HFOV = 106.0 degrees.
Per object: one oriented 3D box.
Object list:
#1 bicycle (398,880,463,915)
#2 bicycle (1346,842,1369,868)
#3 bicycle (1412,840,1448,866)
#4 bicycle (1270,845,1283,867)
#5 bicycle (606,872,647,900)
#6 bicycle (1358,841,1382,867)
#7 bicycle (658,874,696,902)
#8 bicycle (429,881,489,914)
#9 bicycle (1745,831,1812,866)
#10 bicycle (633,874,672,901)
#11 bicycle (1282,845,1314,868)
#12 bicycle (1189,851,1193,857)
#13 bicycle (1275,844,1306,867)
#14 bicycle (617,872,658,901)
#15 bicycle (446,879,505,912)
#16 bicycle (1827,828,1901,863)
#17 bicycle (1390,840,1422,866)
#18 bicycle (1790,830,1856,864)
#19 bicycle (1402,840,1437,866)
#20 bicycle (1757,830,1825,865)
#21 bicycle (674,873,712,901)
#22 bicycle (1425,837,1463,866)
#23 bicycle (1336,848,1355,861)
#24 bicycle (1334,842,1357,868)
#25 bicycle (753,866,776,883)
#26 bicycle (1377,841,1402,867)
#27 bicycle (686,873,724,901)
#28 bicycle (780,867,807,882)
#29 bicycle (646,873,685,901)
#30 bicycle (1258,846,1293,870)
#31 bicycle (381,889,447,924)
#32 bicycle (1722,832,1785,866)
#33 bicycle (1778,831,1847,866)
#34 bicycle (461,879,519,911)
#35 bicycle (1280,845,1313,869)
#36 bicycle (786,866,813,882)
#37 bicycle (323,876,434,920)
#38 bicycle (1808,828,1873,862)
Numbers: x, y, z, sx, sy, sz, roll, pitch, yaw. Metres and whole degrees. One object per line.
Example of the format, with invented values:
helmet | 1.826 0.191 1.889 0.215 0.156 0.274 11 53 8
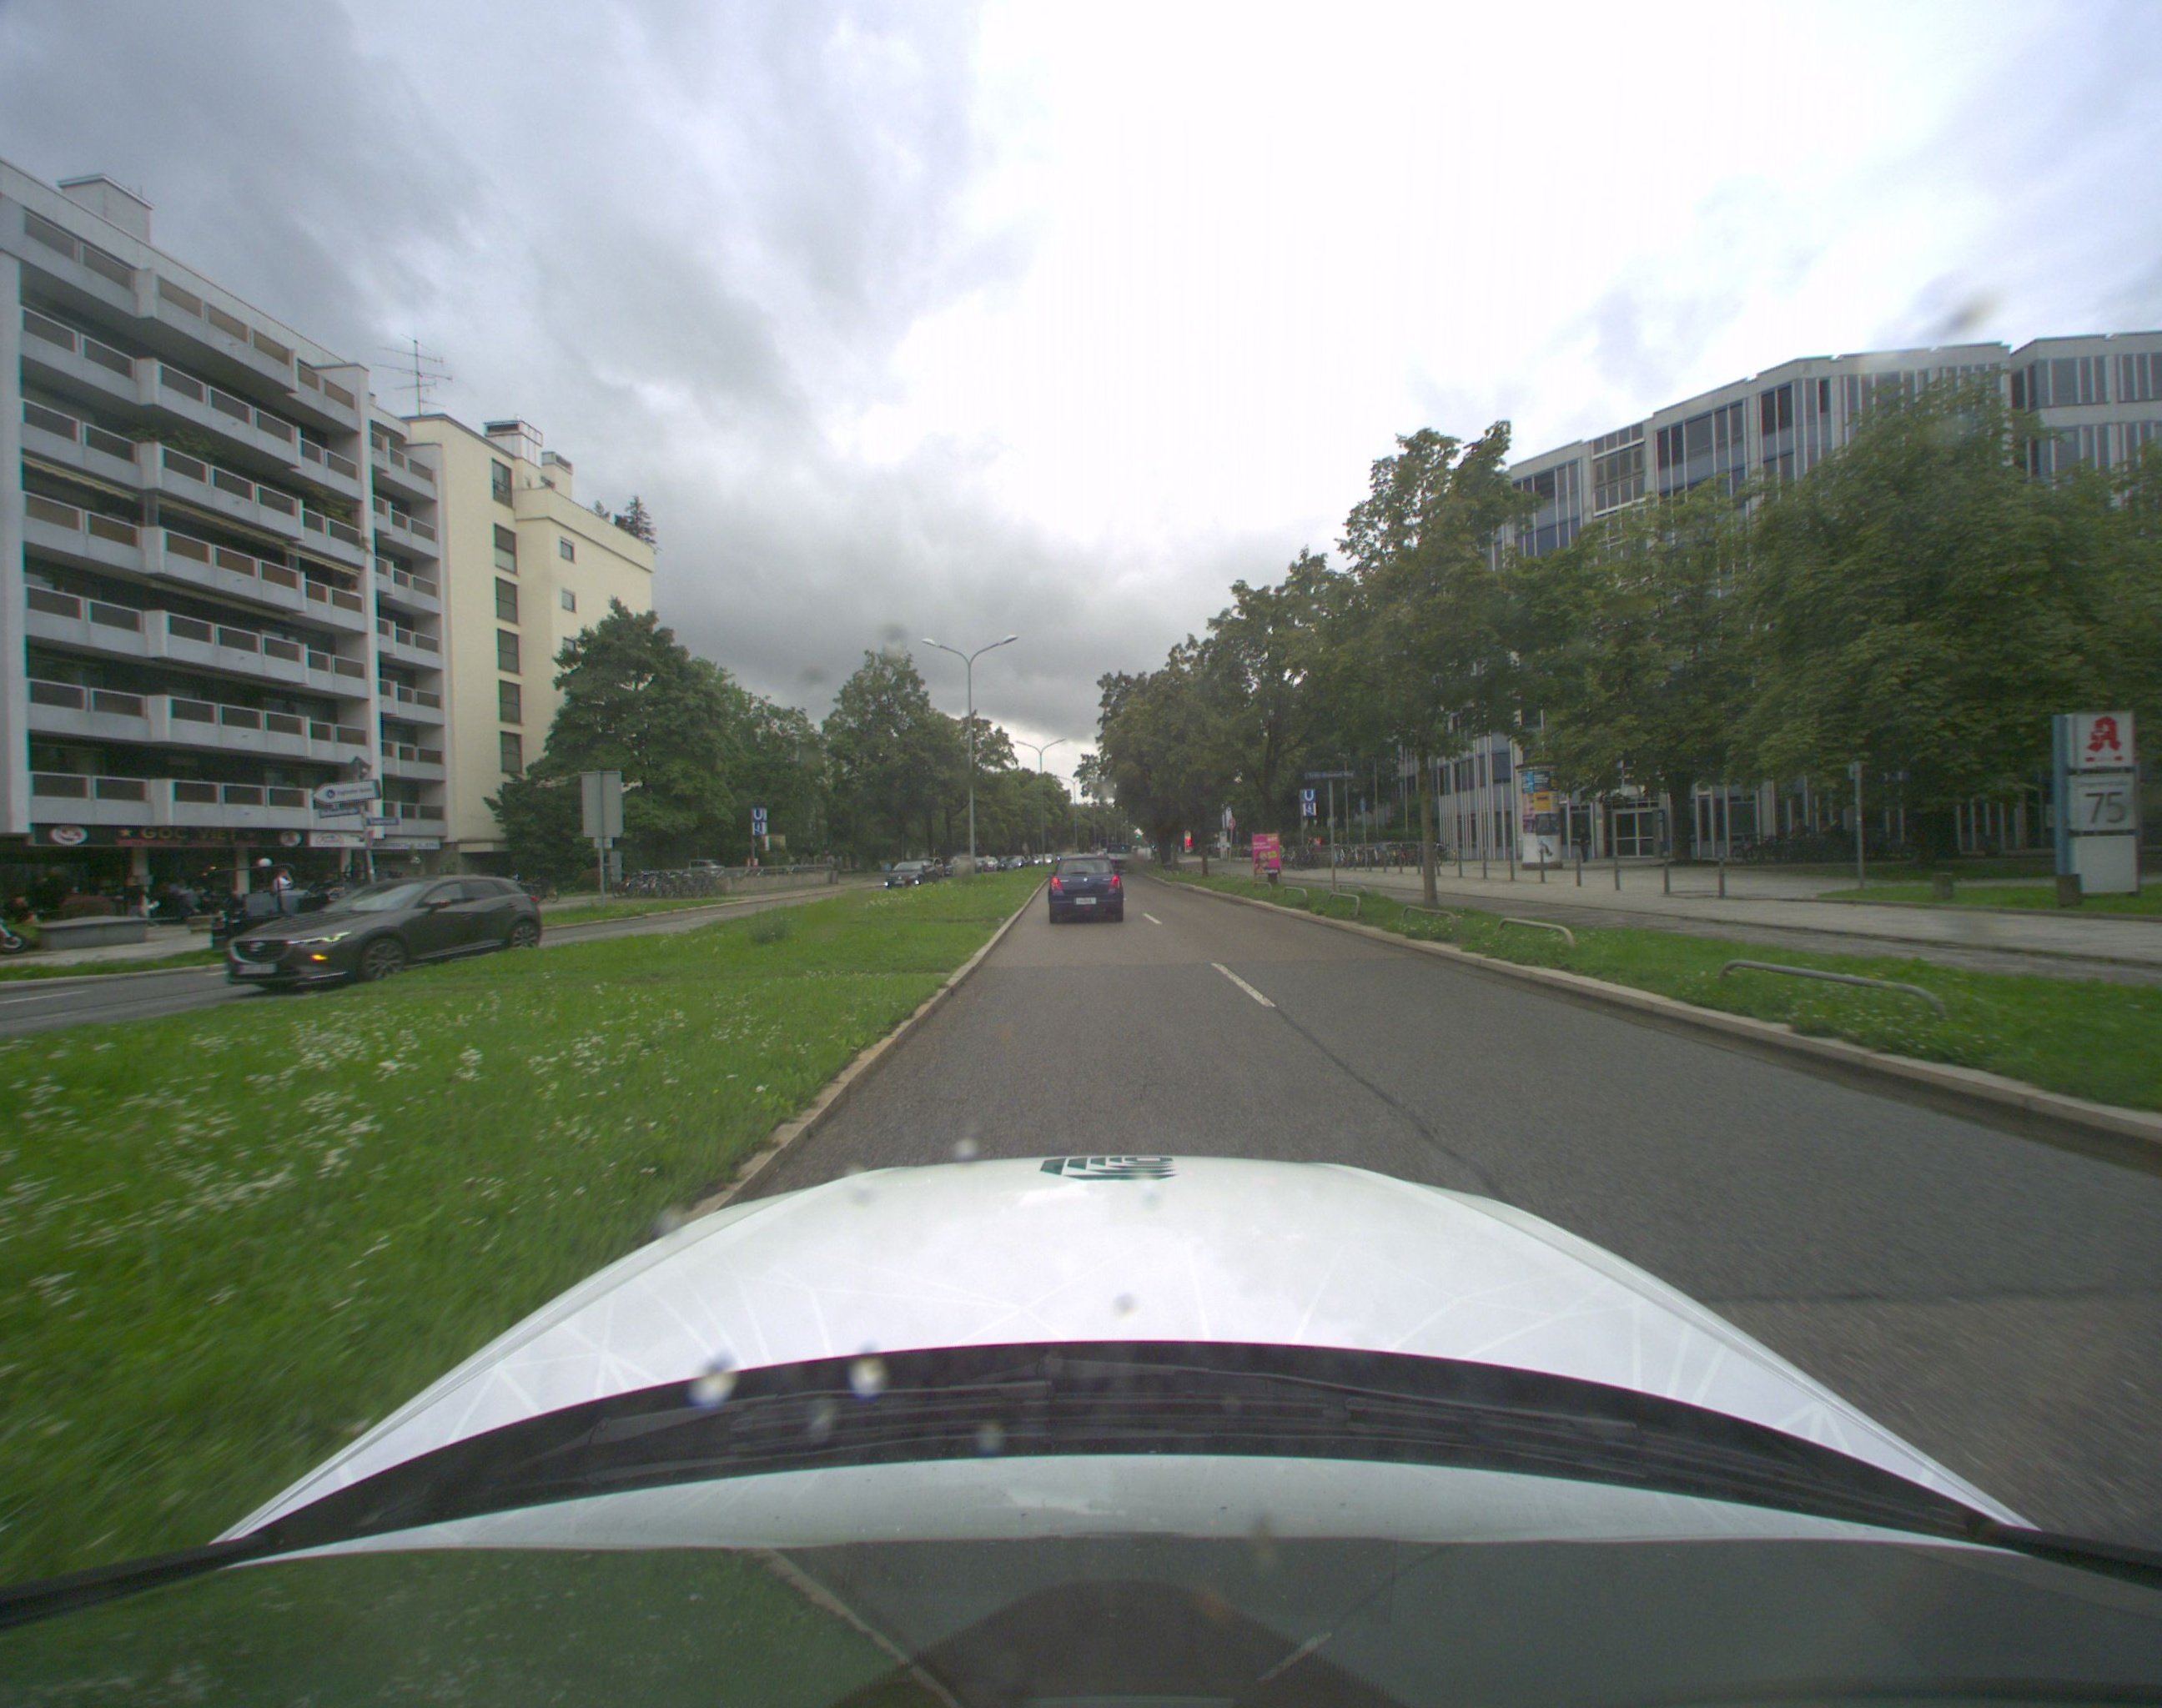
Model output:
bicycle | -22.768 1.529 28.513 1.937 1.103 0.561 2 1 8
bicycle | 13.281 0.030 39.173 0.486 1.189 1.955 -2 0 2
bicycle | 16.609 -0.054 38.804 0.576 1.189 2.137 -2 0 -5
bicycle | 11.729 0.109 48.787 0.527 1.226 1.866 -4 1 9
bicycle | -19.431 1.362 34.829 0.406 1.097 1.958 2 1 7
bicycle | 13.885 -0.020 39.213 0.486 1.189 1.955 -2 0 2
bicycle | -17.205 1.435 34.739 0.406 1.040 1.958 2 1 7
bicycle | -22.578 1.569 29.574 1.937 1.103 0.490 2 0 8
bicycle | 26.574 -0.212 31.072 0.507 1.260 2.171 -2 0 -5
bicycle | -18.330 1.426 34.870 0.406 1.030 1.958 2 1 7
bicycle | 11.751 0.105 44.048 1.965 1.083 0.590 -5 2 -40
bicycle | 20.554 0.019 152.101 0.745 1.183 2.250 -2 0 5
bicycle | 11.646 0.076 45.238 1.965 1.108 0.573 -7 3 -40
bicycle | -18.917 1.375 34.793 0.406 1.103 1.958 2 1 7
bicycle | -22.452 1.546 30.190 1.937 1.103 0.490 2 0 8
bicycle | 29.885 -0.311 31.145 0.551 1.260 2.171 -2 0 -5
bicycle | 15.398 -0.032 38.621 0.445 1.189 2.137 -2 0 -5
bicycle | 28.560 -0.249 31.385 0.507 1.260 2.018 -2 0 -5
bicycle | 15.951 -0.040 38.417 0.510 1.189 2.137 -2 0 -5
bicycle | 27.145 -0.232 31.177 0.507 1.260 2.171 -2 0 -5
bicycle | -16.535 1.408 34.730 0.406 1.078 1.958 2 1 7
bicycle | 17.360 -0.112 39.011 0.507 1.294 2.473 -2 0 -5
bicycle | 18.484 0.037 56.976 0.680 0.853 1.835 -2 1 1
bicycle | 12.702 0.039 39.195 0.486 1.189 1.955 -2 0 2
bicycle | -21.734 1.399 55.968 0.575 1.099 2.035 -2 0 6
bicycle | 14.725 -0.023 38.903 0.444 1.189 1.955 -2 0 2
bicycle | -16.007 1.390 34.733 0.406 1.089 2.089 2 1 8
bicycle | -19.941 1.419 56.498 1.754 1.007 0.437 -2 0 4
bicycle | -17.747 1.401 34.836 0.406 1.072 1.958 2 1 7
bicycle | 10.965 0.210 45.920 1.960 1.188 0.591 -5 1 -30
bicycle | -22.868 1.808 27.928 1.937 1.103 0.561 -2 0 8
bicycle | 25.917 -0.198 31.419 0.605 1.260 2.053 -2 0 -3
bicycle | 27.963 -0.214 31.197 0.507 1.260 2.171 -2 0 -5
bicycle | -22.362 1.537 30.827 1.937 1.103 0.490 2 0 8
bicycle | 11.285 0.146 42.599 1.965 1.066 0.573 -5 0 -40
bicycle | -20.062 1.426 58.011 1.754 1.007 0.437 -2 0 4
bicycle | -23.517 1.451 27.270 3.308 1.283 0.790 2 1 8
bicycle | 29.275 -0.322 31.436 0.507 1.260 1.951 -2 0 -5
